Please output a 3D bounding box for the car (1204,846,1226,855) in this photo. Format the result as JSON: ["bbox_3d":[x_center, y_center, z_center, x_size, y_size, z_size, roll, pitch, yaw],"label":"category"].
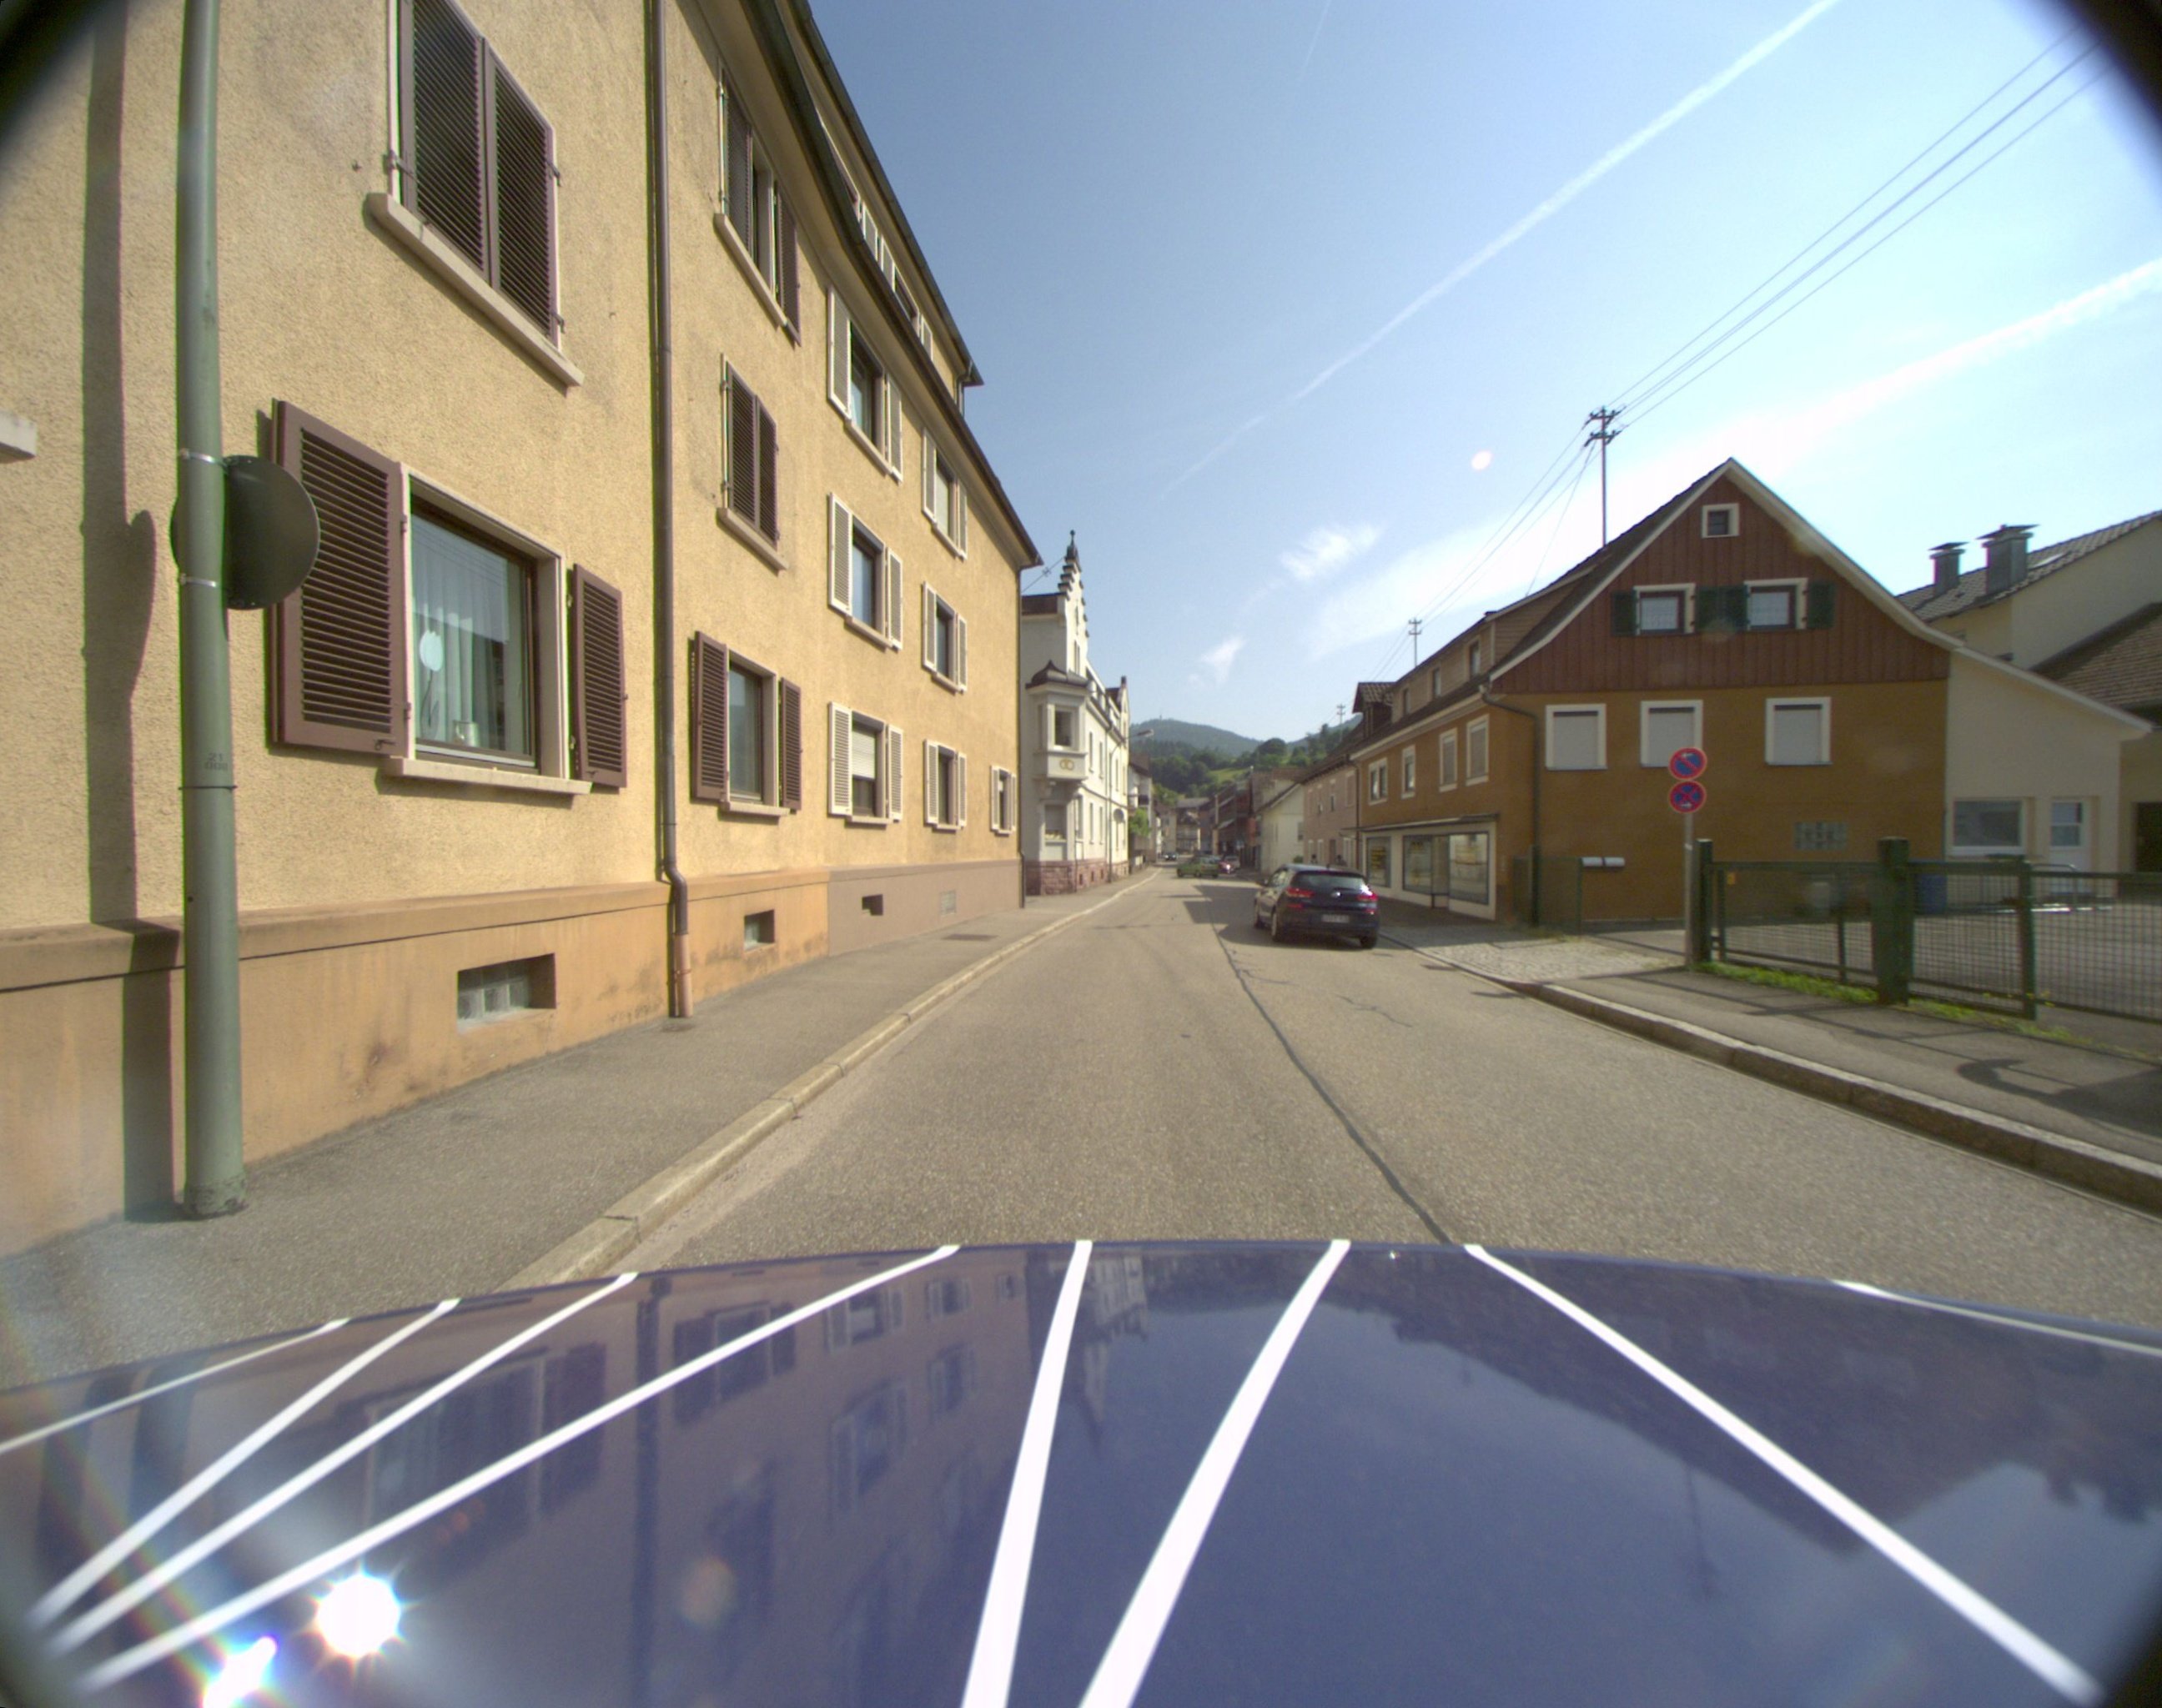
[{"bbox_3d":[26.371,-0.681,149.905,3.998,1.673,1.835,0,-1,-2],"label":"car"}]

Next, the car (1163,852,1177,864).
[{"bbox_3d":[15.627,0.660,133.591,1.998,2.002,4.000,-1,1,2],"label":"car"}]

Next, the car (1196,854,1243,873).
[{"bbox_3d":[12.306,0.871,67.641,1.827,1.652,3.990,1,-1,-35],"label":"car"}]

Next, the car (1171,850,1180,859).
[{"bbox_3d":[20.460,0.121,163.991,1.741,2.002,3.841,-1,0,4],"label":"car"}]

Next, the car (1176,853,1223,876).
[{"bbox_3d":[8.509,0.734,54.918,1.604,1.456,3.651,3,1,-23],"label":"car"}]

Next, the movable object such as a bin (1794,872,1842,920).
[{"bbox_3d":[14.677,0.832,15.139,0.478,0.916,0.486,-2,0,7],"label":"movable object such as a bin"}]

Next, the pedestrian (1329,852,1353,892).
[{"bbox_3d":[10.382,0.703,30.352,0.736,1.555,0.825,-2,0,8],"label":"pedestrian"}]

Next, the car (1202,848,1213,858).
[{"bbox_3d":[23.422,-0.195,141.113,1.786,1.566,3.890,-3,0,6],"label":"car"}]

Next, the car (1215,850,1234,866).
[{"bbox_3d":[16.547,0.415,87.513,1.723,1.786,4.270,0,0,5],"label":"car"}]

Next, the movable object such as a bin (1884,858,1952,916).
[{"bbox_3d":[16.492,0.638,14.986,0.544,1.087,0.745,-2,0,7],"label":"movable object such as a bin"}]

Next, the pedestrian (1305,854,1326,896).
[{"bbox_3d":[9.390,0.830,30.416,0.640,1.617,0.777,-2,0,9],"label":"pedestrian"}]

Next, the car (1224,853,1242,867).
[{"bbox_3d":[16.453,0.664,82.263,1.669,1.423,3.571,-2,-1,8],"label":"car"}]

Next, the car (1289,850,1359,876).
[{"bbox_3d":[15.828,0.601,49.712,3.995,1.584,1.908,-1,0,5],"label":"car"}]

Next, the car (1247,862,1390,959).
[{"bbox_3d":[4.429,0.973,14.793,1.751,1.444,4.028,3,1,5],"label":"car"}]

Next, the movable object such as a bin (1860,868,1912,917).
[{"bbox_3d":[15.838,0.755,14.956,0.478,0.916,0.486,-2,0,7],"label":"movable object such as a bin"}]
